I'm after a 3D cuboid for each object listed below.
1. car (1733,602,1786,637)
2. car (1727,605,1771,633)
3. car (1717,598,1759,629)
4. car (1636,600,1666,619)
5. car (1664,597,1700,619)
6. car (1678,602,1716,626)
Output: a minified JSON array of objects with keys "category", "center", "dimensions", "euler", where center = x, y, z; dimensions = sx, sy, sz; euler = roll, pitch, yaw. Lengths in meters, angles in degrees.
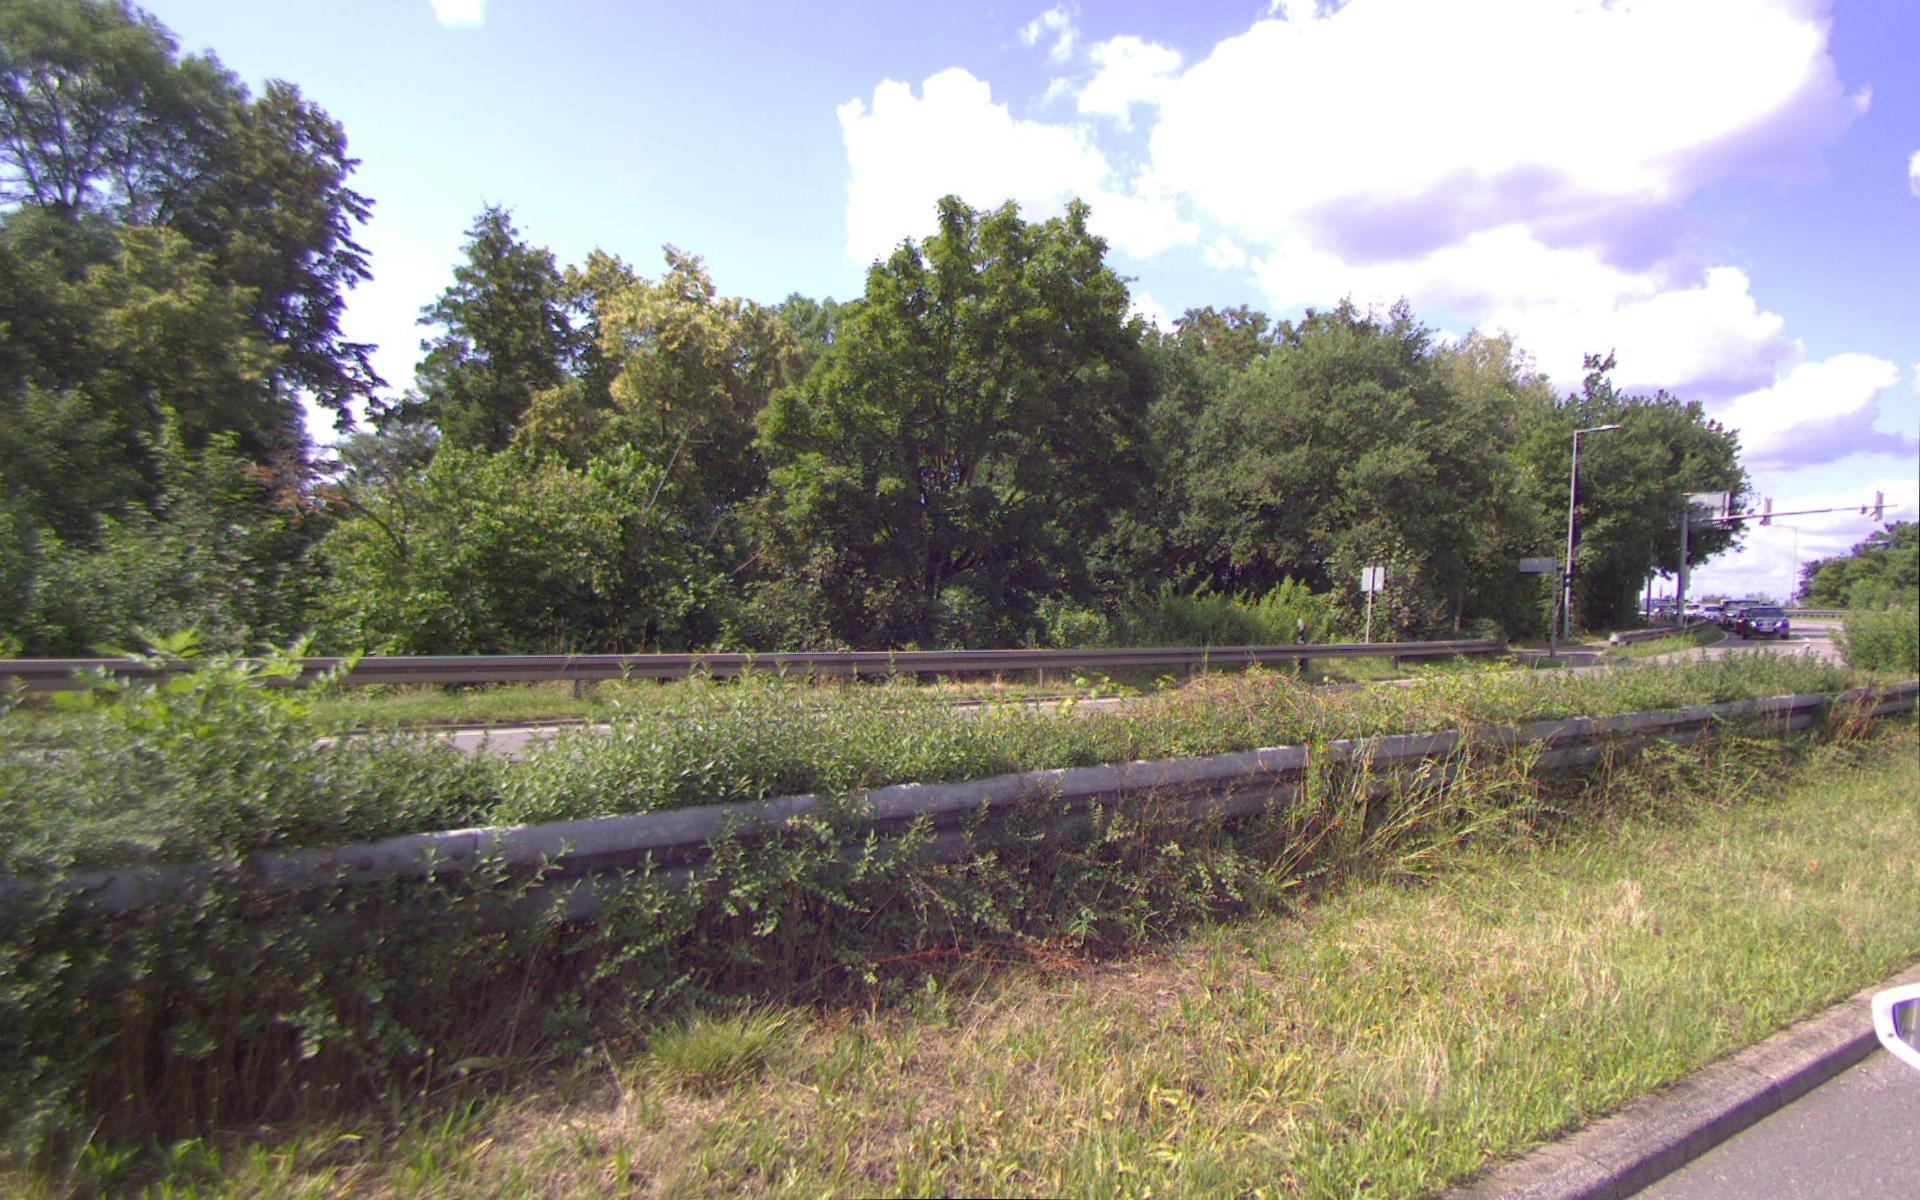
[{"category":"car","center":[39.786,0.970,50.030],"dimensions":[1.814,1.639,3.987],"euler":[1,-1,35]},{"category":"car","center":[44.450,1.032,56.644],"dimensions":[1.708,1.496,4.033],"euler":[1,0,35]},{"category":"car","center":[48.237,0.836,62.358],"dimensions":[1.818,1.826,4.312],"euler":[1,0,35]},{"category":"car","center":[64.273,0.884,93.486],"dimensions":[1.815,1.728,4.320],"euler":[1,0,28]},{"category":"car","center":[59.438,0.661,82.755],"dimensions":[1.815,1.728,4.321],"euler":[1,0,27]},{"category":"car","center":[55.802,1.018,76.112],"dimensions":[1.816,1.728,4.318],"euler":[1,0,30]}]
